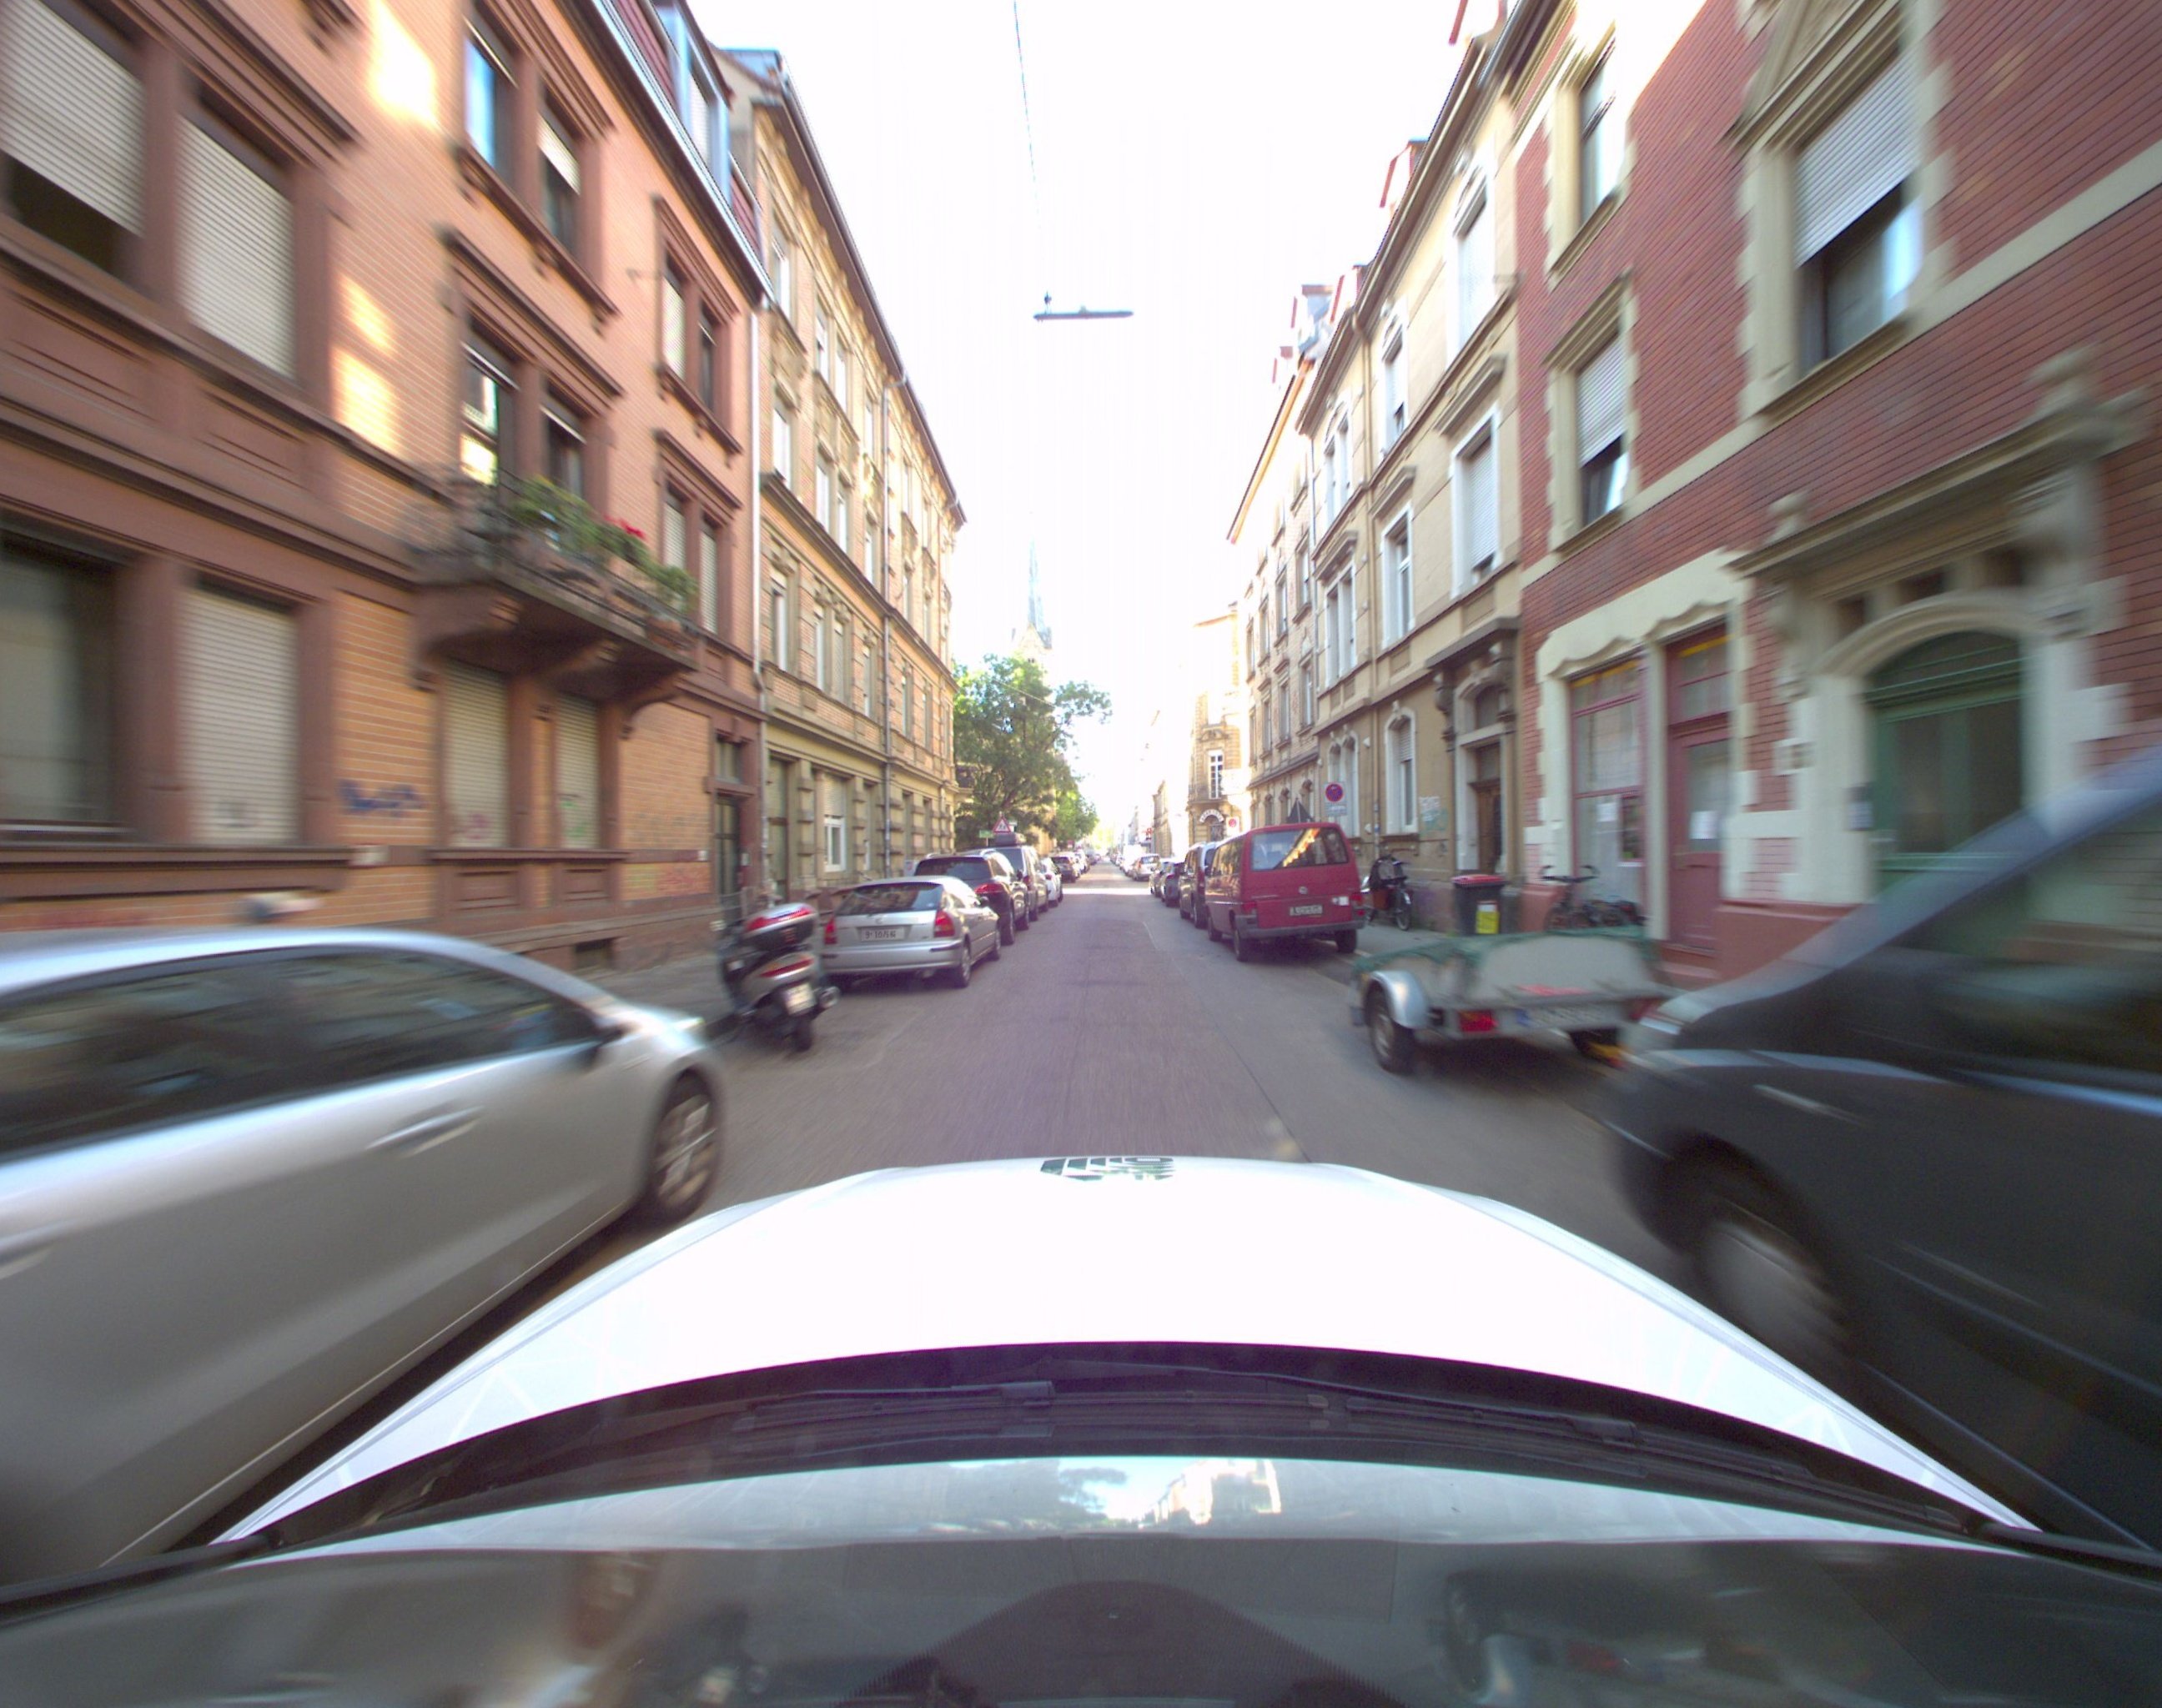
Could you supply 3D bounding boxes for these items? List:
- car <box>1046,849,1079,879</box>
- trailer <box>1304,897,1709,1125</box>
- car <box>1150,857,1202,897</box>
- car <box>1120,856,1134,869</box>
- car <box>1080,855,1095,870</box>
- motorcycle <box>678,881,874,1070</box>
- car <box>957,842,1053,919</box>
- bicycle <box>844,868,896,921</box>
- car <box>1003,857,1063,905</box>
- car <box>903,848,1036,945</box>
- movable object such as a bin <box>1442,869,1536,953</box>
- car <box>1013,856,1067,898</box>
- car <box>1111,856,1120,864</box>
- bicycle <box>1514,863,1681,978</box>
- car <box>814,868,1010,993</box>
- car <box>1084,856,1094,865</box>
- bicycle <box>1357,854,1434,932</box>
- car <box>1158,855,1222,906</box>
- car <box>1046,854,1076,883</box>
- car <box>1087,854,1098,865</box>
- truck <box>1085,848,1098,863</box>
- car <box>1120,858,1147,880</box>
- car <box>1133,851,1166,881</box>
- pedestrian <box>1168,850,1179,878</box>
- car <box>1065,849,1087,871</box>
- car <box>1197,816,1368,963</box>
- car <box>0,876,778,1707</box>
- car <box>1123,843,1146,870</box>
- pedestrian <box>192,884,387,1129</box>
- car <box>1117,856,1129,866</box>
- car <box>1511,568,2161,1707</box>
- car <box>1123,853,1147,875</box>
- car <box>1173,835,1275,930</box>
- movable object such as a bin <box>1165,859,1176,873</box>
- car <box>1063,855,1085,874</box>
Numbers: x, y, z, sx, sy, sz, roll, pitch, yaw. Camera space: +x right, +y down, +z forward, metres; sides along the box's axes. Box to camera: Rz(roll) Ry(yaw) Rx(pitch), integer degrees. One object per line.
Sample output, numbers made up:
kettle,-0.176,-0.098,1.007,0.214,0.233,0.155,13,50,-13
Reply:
car,-1.185,0.637,54.726,1.838,1.862,4.468,-1,0,3
trailer,2.889,0.991,6.246,1.500,1.113,3.039,2,0,0
car,3.662,0.839,32.070,1.699,1.459,4.513,0,0,2
car,5.422,0.982,96.230,1.597,1.505,4.003,0,0,3
car,0.800,0.987,97.468,1.594,1.614,3.809,-3,0,1
motorcycle,-2.753,0.961,7.175,0.849,1.360,2.170,-3,0,-41
car,-1.874,0.620,21.424,1.885,1.784,4.610,0,0,2
bicycle,-4.878,0.911,18.935,0.664,1.125,1.786,2,0,2
car,-1.477,0.814,26.197,1.668,1.420,3.874,0,0,0
car,-2.035,0.727,16.170,1.781,1.624,4.611,0,0,3
movable object such as a bin,5.651,0.771,11.324,0.893,1.061,0.722,-4,0,-1
car,-1.495,0.811,31.059,1.716,1.481,4.091,0,0,2
car,8.486,1.500,201.077,1.986,2.013,4.002,-1,0,2
bicycle,5.938,0.711,9.514,0.699,1.121,1.899,-5,0,1
car,-2.099,0.900,11.252,1.692,1.314,4.001,2,0,2
car,1.469,1.242,158.658,1.870,1.796,3.998,-1,0,-1
bicycle,5.711,0.673,14.898,0.724,1.304,1.693,-4,0,2
car,3.442,0.786,26.264,1.660,1.479,3.890,-1,0,2
car,-1.166,0.840,49.151,1.735,1.646,4.287,-1,0,-1
car,1.936,0.896,136.607,1.868,1.796,4.002,-1,0,2
truck,2.224,0.343,175.120,2.522,3.282,6.998,-1,0,2
car,3.923,1.121,61.365,1.568,1.525,3.905,1,0,-2
car,4.224,0.718,50.824,1.698,1.714,3.937,-2,0,0
pedestrian,5.646,0.610,49.893,0.571,1.732,0.664,-2,0,4
car,-0.448,0.553,76.435,1.857,1.957,4.611,-3,0,1
car,3.121,0.487,13.613,1.825,2.013,4.744,1,0,2
car,-2.578,0.862,2.519,1.668,1.419,4.000,-2,0,1
car,5.207,0.219,80.238,2.060,2.611,5.890,0,0,2
pedestrian,-4.522,0.827,4.693,0.448,1.284,0.647,1,-1,2
car,6.404,1.002,124.581,1.890,1.488,3.871,-1,0,2
car,2.576,0.564,0.926,1.838,1.984,4.577,1,0,1
car,4.342,0.826,65.377,1.800,1.690,4.216,1,-1,2
car,3.208,0.593,19.055,1.763,1.961,4.266,1,0,2
movable object such as a bin,7.060,0.958,64.345,0.551,1.052,0.597,-4,0,-32
car,-0.561,0.932,70.654,1.735,1.586,3.870,-1,0,2
